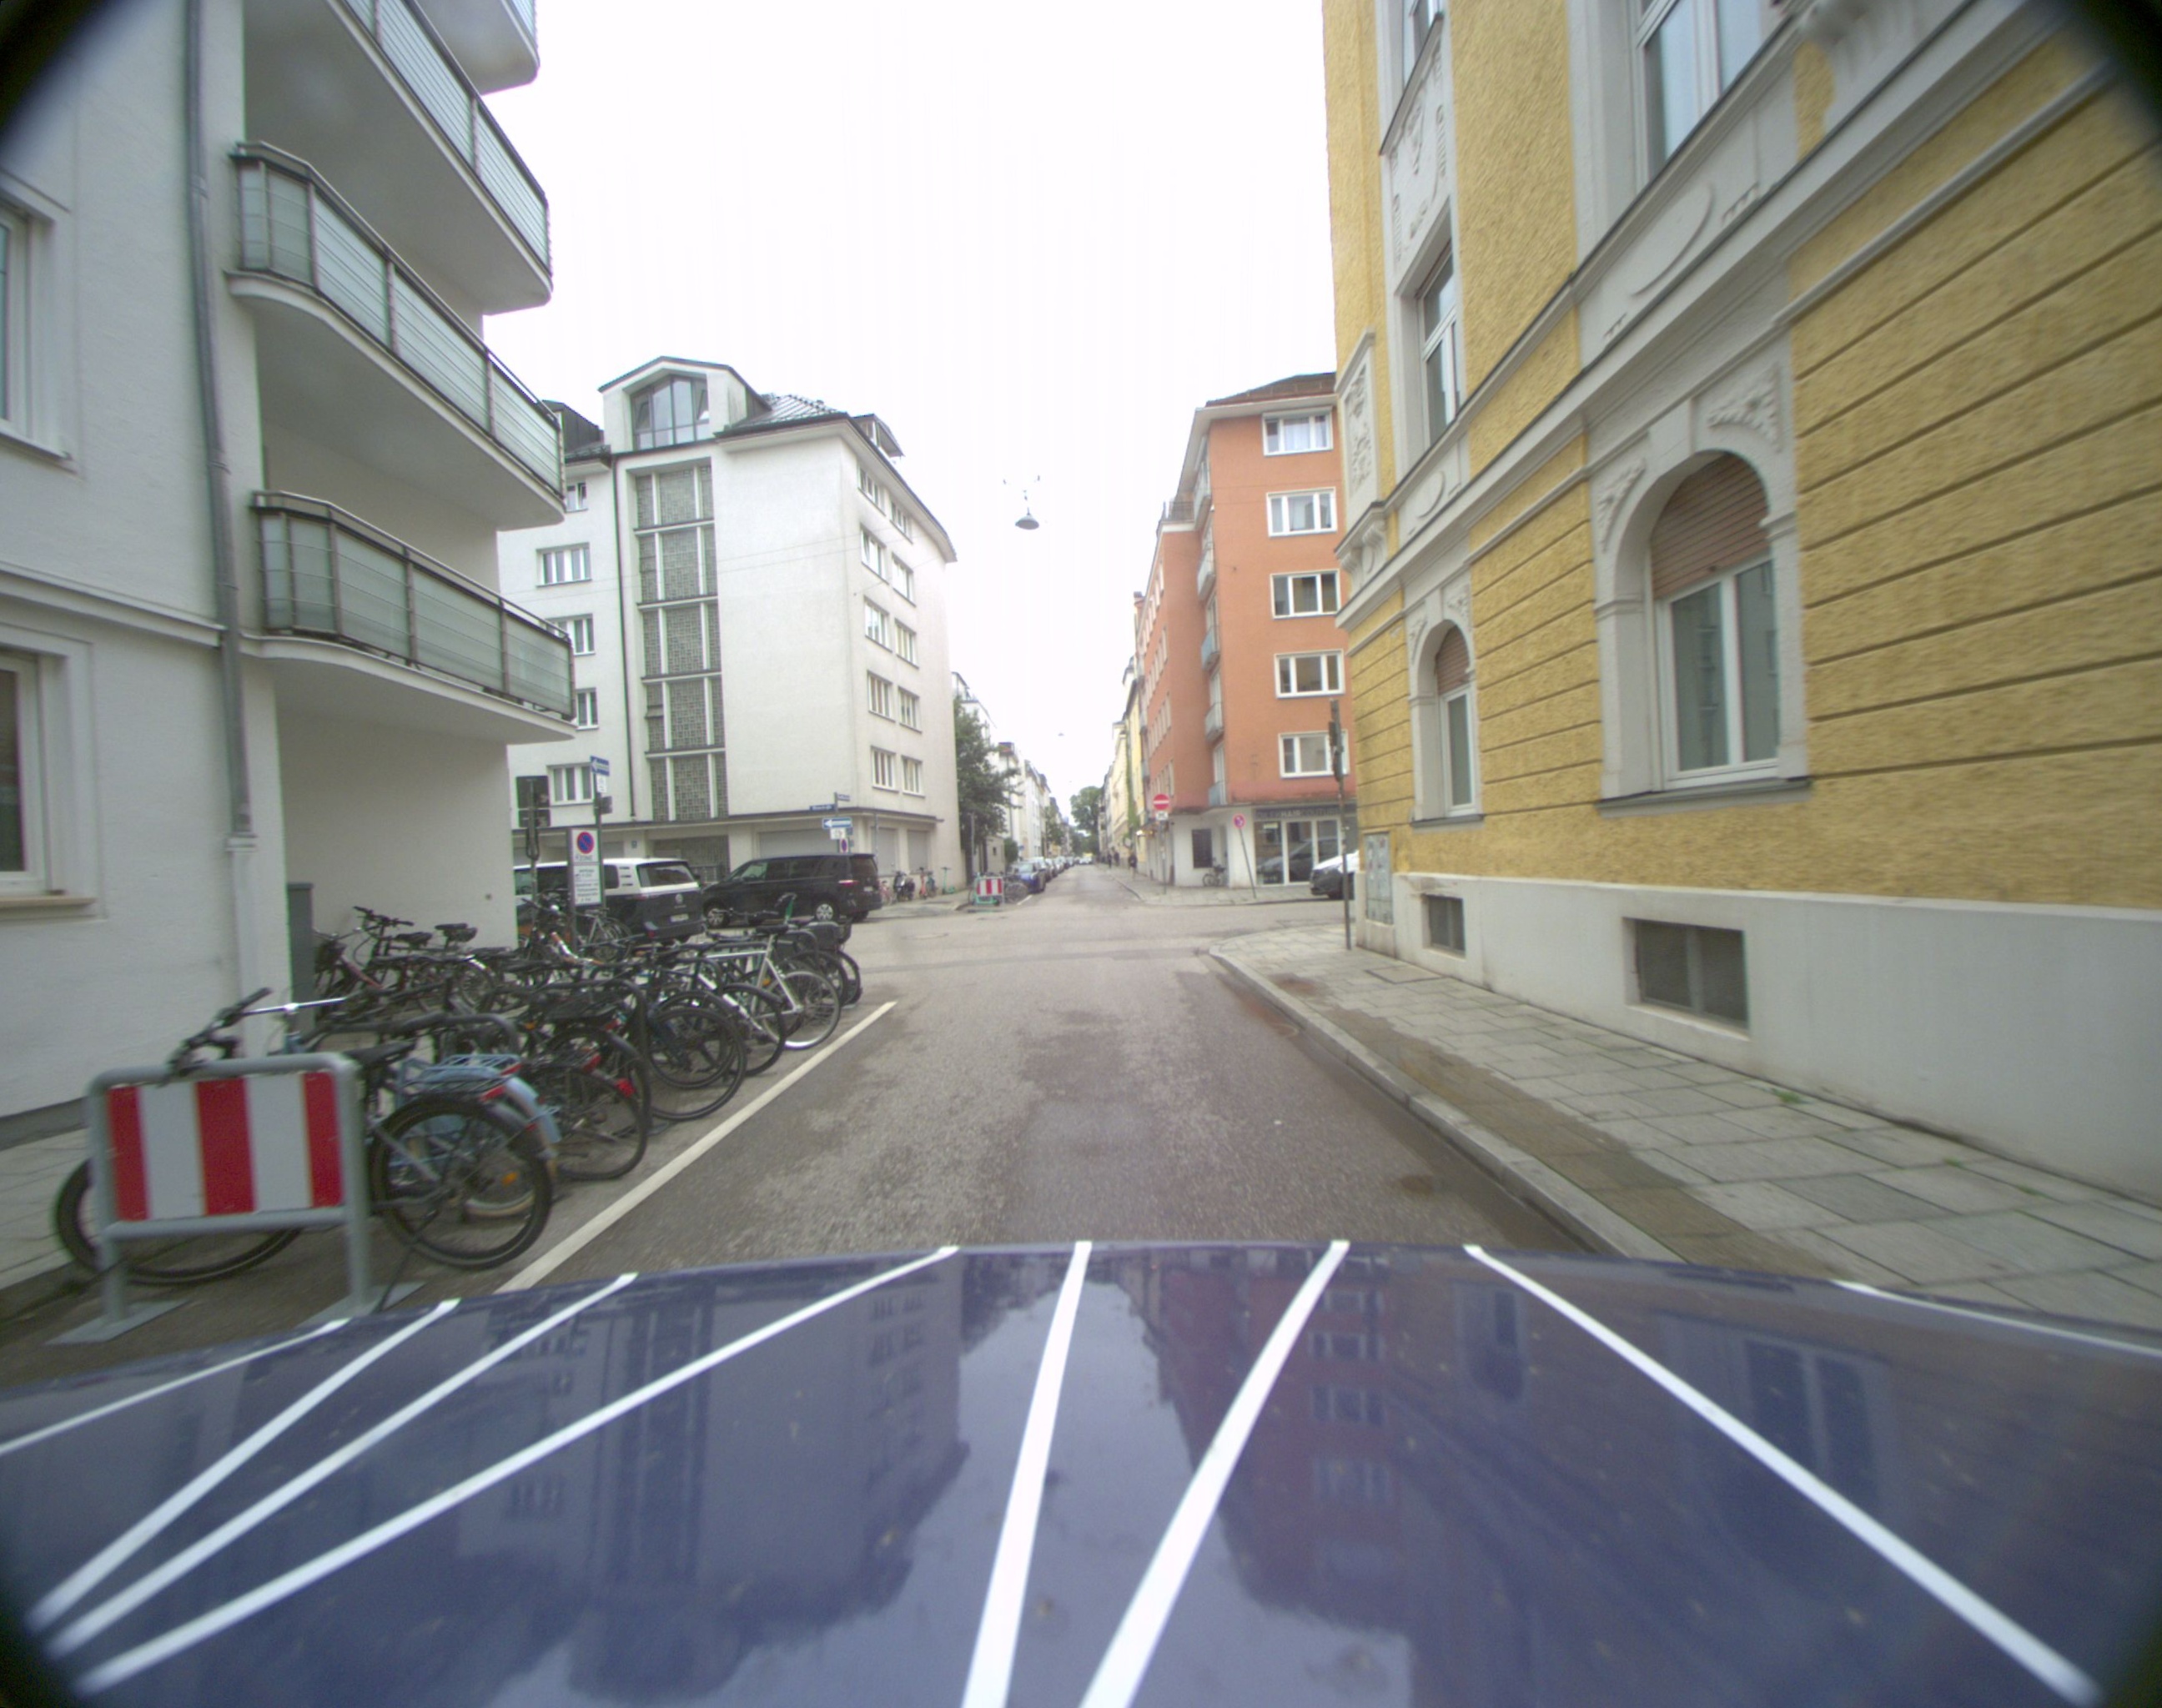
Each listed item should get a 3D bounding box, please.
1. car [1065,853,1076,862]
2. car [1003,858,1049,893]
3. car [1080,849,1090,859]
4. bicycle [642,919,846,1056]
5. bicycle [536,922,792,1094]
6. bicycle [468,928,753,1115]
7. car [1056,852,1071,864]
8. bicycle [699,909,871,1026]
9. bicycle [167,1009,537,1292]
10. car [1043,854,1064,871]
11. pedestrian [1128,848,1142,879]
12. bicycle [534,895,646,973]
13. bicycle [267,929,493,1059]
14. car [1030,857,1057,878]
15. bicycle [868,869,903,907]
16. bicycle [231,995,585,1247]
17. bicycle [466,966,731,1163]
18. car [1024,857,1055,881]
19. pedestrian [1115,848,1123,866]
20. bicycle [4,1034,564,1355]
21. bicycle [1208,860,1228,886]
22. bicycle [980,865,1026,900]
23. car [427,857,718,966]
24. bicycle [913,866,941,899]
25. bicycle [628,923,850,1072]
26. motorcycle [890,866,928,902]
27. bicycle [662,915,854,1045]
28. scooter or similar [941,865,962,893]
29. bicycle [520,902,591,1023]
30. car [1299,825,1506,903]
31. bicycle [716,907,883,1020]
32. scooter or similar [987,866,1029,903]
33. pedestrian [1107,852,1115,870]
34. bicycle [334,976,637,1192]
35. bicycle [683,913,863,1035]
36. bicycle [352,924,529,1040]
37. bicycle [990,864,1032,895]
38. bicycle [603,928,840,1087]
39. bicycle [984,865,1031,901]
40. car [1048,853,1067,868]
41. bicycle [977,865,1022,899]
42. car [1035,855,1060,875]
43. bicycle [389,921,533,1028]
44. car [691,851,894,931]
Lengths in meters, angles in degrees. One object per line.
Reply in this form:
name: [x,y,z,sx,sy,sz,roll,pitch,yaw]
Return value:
car: [-1.760,0.530,127.332,1.653,1.390,4.000,-2,0,1]
car: [-2.418,0.932,34.153,1.653,1.390,4.000,-2,0,1]
car: [0.810,0.030,161.153,1.998,2.002,4.646,-3,0,0]
bicycle: [-3.167,1.246,7.201,1.699,1.154,0.378,-3,1,0]
bicycle: [-3.123,1.142,5.752,1.666,1.154,0.378,-3,1,0]
bicycle: [-3.271,1.156,5.342,1.699,1.154,0.378,-3,1,0]
car: [-2.156,0.504,92.696,1.653,1.390,4.000,-2,0,1]
bicycle: [-3.212,1.226,8.297,1.699,1.154,0.313,-3,1,0]
bicycle: [-3.159,1.243,3.308,1.438,1.037,0.330,0,1,9]
car: [-2.528,0.755,70.553,1.653,1.390,4.000,-2,0,1]
pedestrian: [2.971,0.528,41.856,0.613,1.684,0.566,-2,1,0]
bicycle: [-8.034,1.287,12.436,1.607,1.207,0.472,0,1,9]
bicycle: [-6.497,1.275,7.111,1.502,1.037,0.398,-1,1,-18]
car: [-2.616,0.923,54.277,1.653,1.390,4.000,-1,0,1]
bicycle: [-6.751,1.151,26.353,0.528,1.207,1.610,-2,0,8]
bicycle: [-3.241,1.243,3.671,1.590,1.037,0.323,0,1,9]
bicycle: [-2.881,1.229,4.556,1.441,1.037,0.360,0,1,9]
car: [-2.621,0.923,49.012,1.653,1.390,4.000,-2,0,1]
pedestrian: [3.760,0.308,74.508,0.699,1.783,0.763,-2,1,1]
bicycle: [-2.915,1.238,2.840,1.707,1.037,0.360,-1,1,1]
bicycle: [5.153,0.710,28.618,0.471,0.923,1.513,-2,0,2]
bicycle: [-2.897,1.061,28.332,1.608,1.207,0.529,-2,1,3]
car: [-9.970,1.095,15.077,4.614,1.862,1.935,-2,1,8]
bicycle: [-6.116,1.125,30.274,0.528,1.207,1.610,-2,0,8]
bicycle: [-2.953,1.236,6.626,1.699,1.154,0.378,-3,1,0]
motorcycle: [-6.372,1.092,28.209,0.660,1.225,1.937,-2,0,8]
bicycle: [-3.201,1.244,7.599,1.699,1.154,0.378,-3,1,0]
scooter or similar: [-5.657,1.072,33.326,0.406,1.160,1.494,-2,0,8]
bicycle: [-6.161,1.222,8.957,0.399,1.197,1.503,-1,1,-24]
car: [8.484,0.316,20.421,4.678,1.835,1.935,-2,-3,4]
bicycle: [-3.196,1.241,8.703,1.699,1.154,0.418,-3,1,0]
scooter or similar: [-2.527,1.062,26.331,1.340,1.207,0.344,-2,1,3]
pedestrian: [2.968,0.674,74.592,0.726,1.783,0.830,-2,1,1]
bicycle: [-3.293,1.239,4.222,1.520,1.037,0.360,0,1,9]
bicycle: [-3.206,1.247,7.967,1.699,1.154,0.313,-3,1,0]
bicycle: [-6.449,1.271,7.706,1.296,1.037,0.398,-1,1,-18]
bicycle: [-2.877,1.034,31.311,1.608,1.207,0.529,-2,1,3]
bicycle: [-2.917,1.238,6.227,1.699,1.154,0.378,-3,1,0]
bicycle: [-2.670,1.056,27.758,1.608,1.207,0.529,-2,1,3]
car: [-2.362,0.652,77.227,1.653,1.390,4.000,-2,0,1]
bicycle: [-3.095,1.064,28.896,1.608,1.207,0.529,-2,1,3]
car: [-2.583,0.819,58.649,1.653,1.390,4.000,-2,0,1]
bicycle: [-6.749,1.293,8.317,1.129,1.037,0.398,-1,1,-18]
car: [-7.667,0.965,20.405,4.676,1.880,1.935,-2,0,9]
